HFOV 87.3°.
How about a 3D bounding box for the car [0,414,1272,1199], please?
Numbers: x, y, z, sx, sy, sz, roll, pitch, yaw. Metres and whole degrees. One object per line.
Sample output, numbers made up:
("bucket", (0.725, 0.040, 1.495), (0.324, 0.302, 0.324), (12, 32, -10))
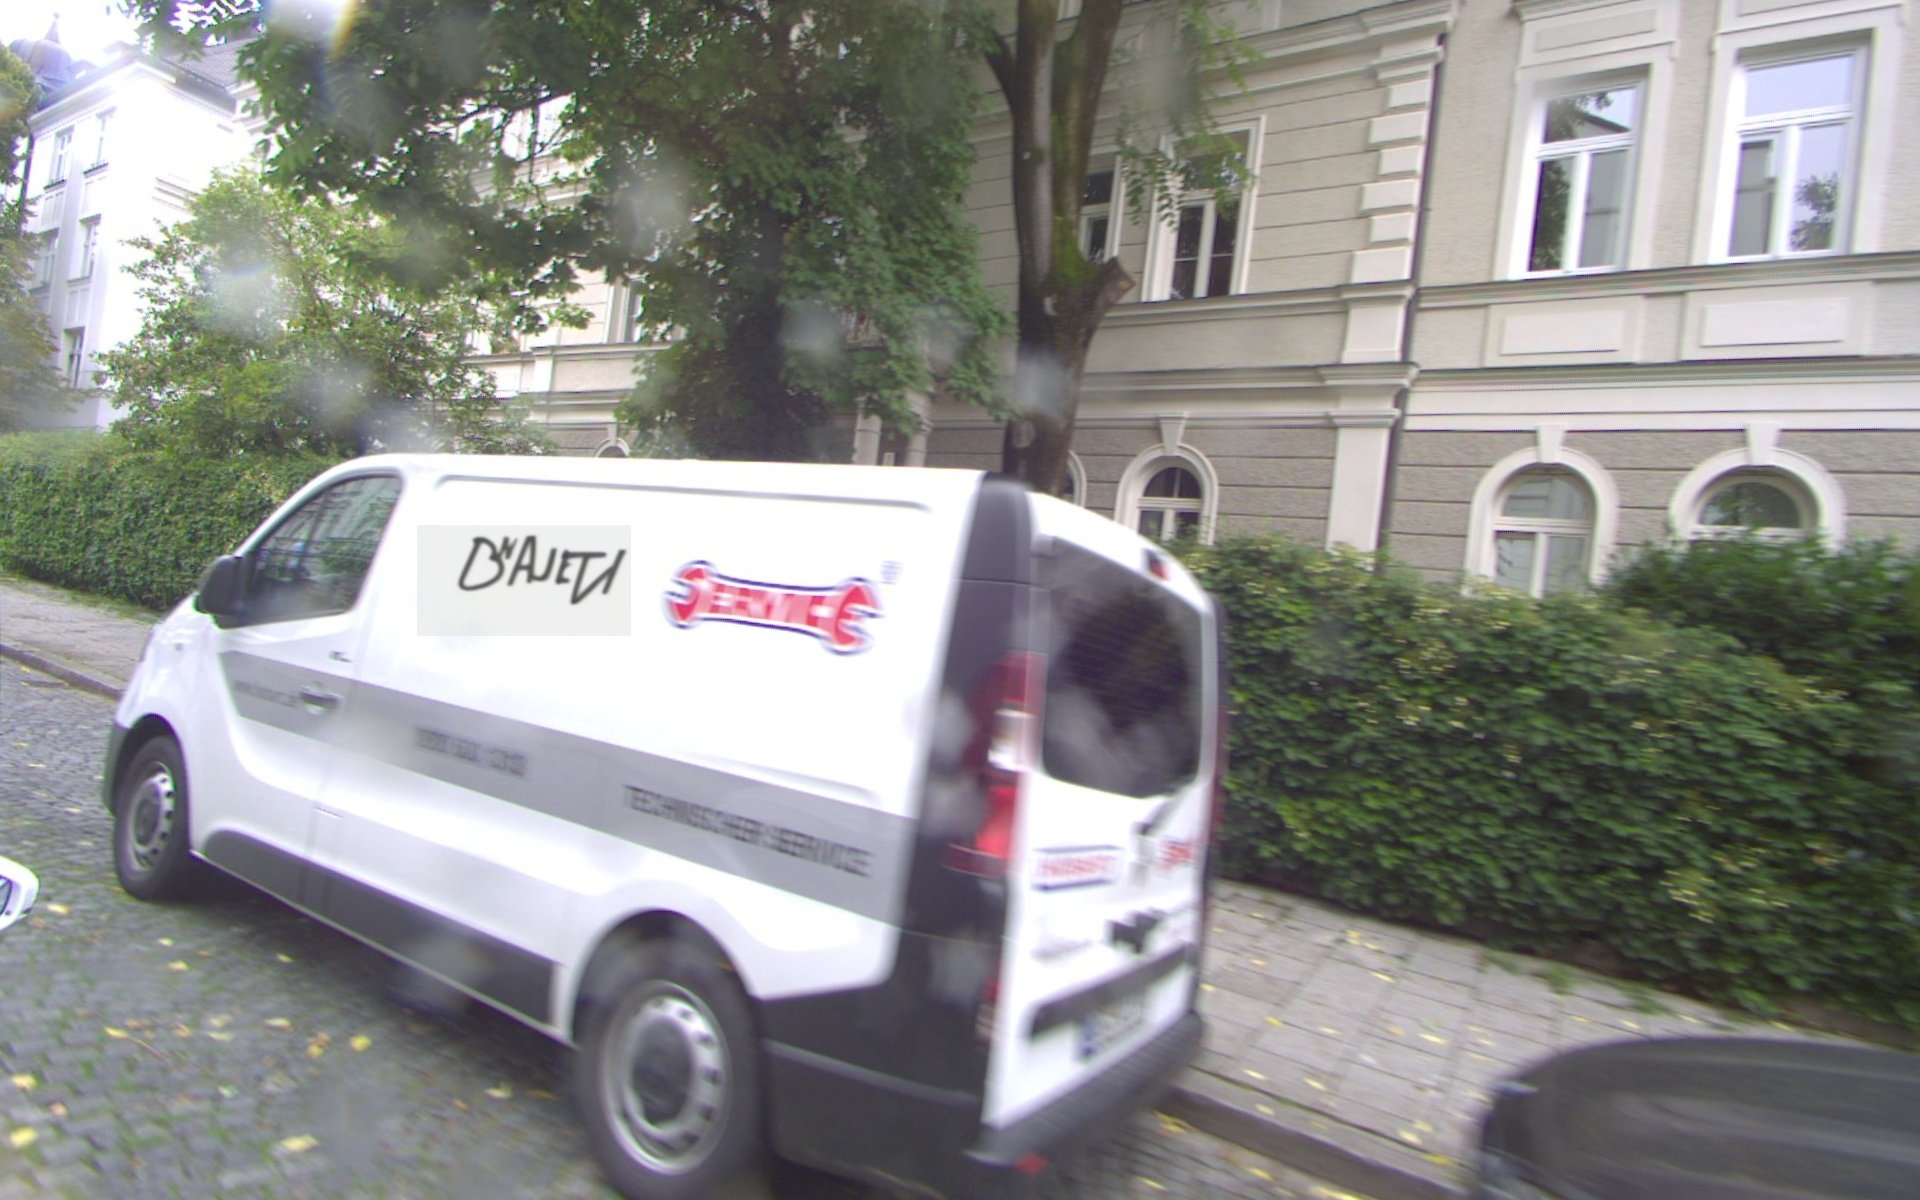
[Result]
("car", (-1.620, 0.487, 4.135), (5.077, 1.948, 1.880), (7, -4, 31))

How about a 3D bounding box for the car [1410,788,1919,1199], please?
("car", (2.949, 1.376, 1.082), (4.350, 1.505, 1.842), (6, -5, 34))
